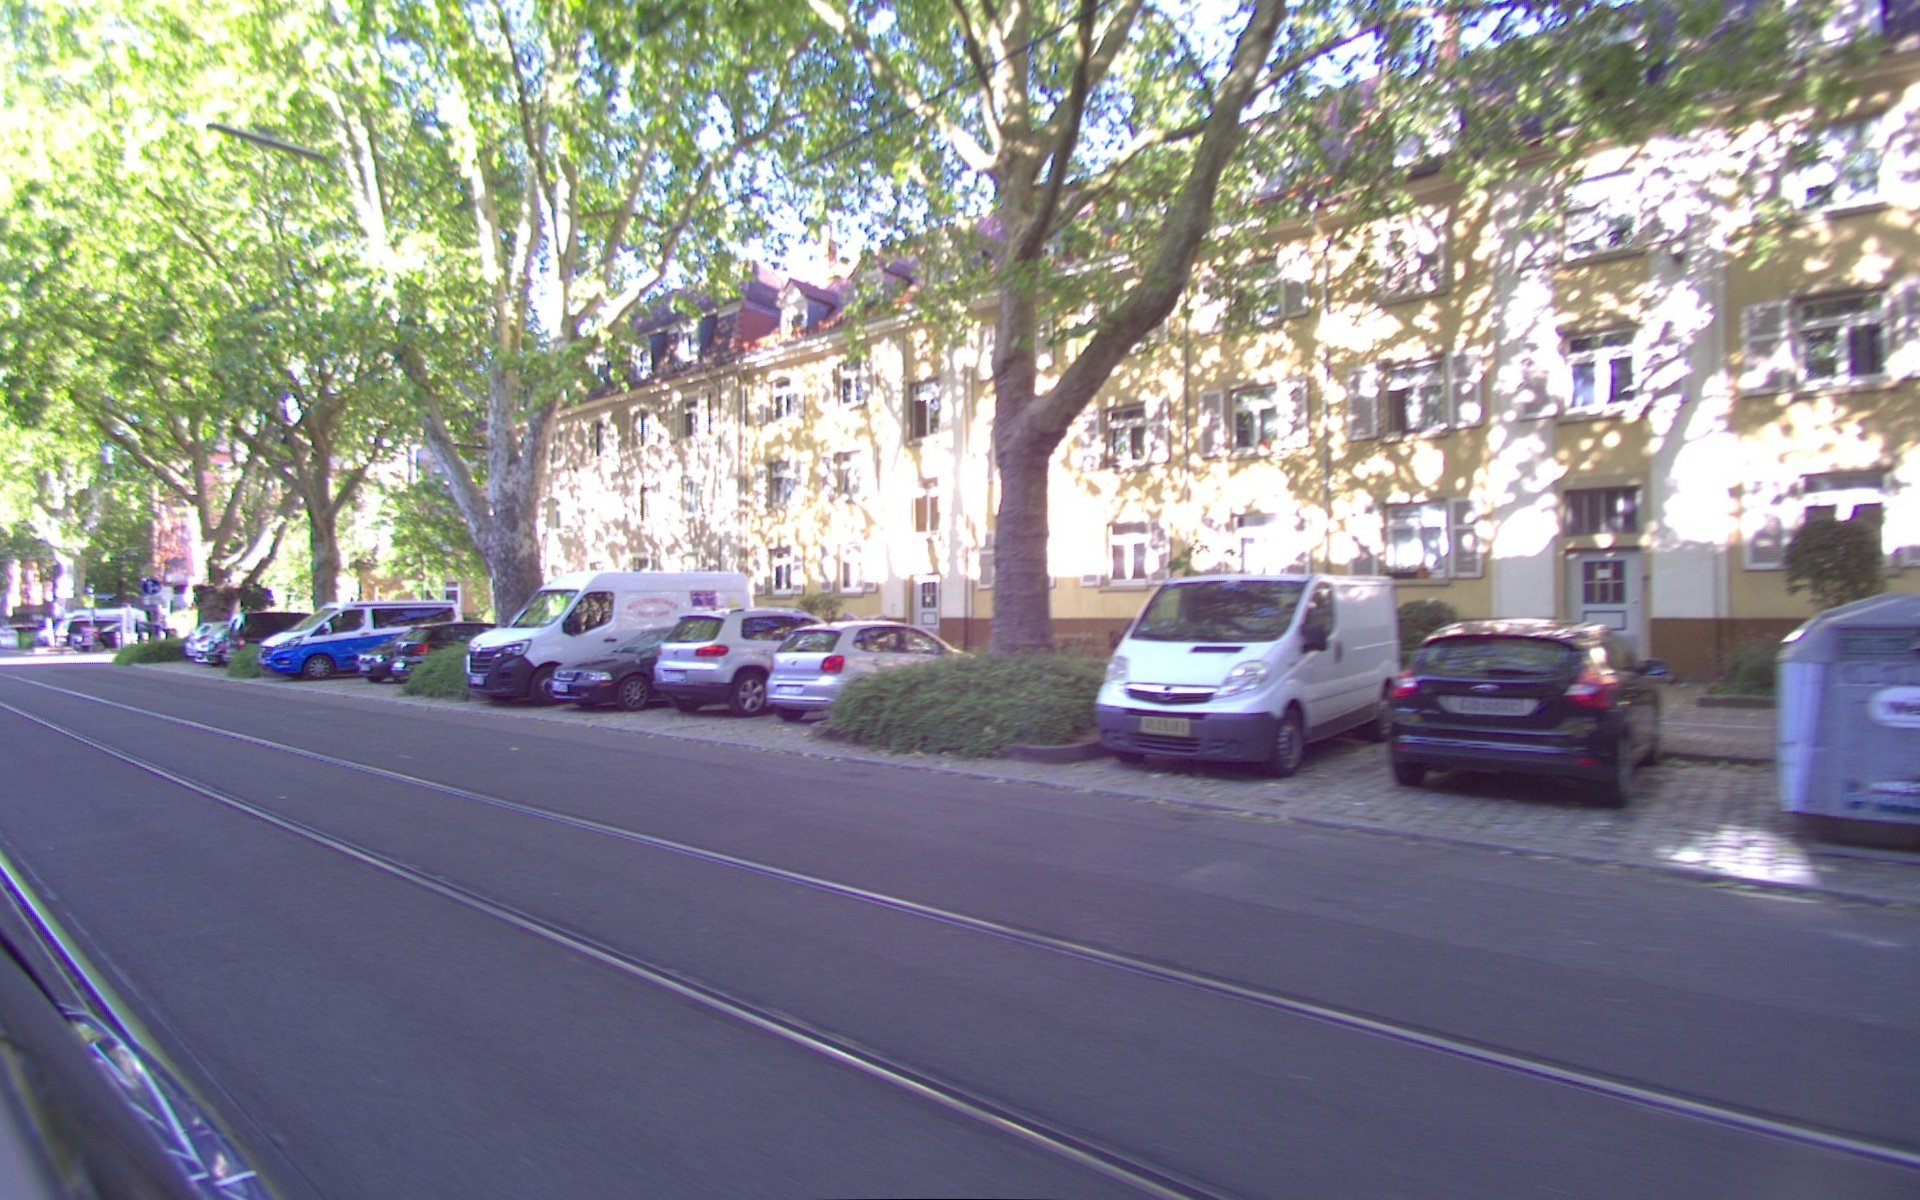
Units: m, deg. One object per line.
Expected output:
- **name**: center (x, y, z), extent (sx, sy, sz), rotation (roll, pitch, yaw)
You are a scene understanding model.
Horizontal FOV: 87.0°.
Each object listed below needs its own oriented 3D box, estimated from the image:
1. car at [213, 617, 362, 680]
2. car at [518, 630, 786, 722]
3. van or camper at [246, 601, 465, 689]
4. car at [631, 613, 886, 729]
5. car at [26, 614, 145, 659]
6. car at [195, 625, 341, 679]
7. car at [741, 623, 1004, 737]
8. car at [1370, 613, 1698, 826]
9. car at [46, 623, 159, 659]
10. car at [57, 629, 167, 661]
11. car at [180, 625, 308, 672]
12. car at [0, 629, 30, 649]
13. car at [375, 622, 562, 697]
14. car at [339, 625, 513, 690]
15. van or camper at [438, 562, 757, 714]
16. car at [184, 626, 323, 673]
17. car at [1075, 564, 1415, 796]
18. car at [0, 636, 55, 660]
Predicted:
- **car**: center (-21.317, 1.479, 32.155), extent (1.703, 1.828, 3.644), rotation (-2, -1, 40)
- **car**: center (-5.254, 1.227, 17.735), extent (1.752, 1.409, 4.219), rotation (-2, -2, 41)
- **van or camper**: center (-16.517, 1.144, 27.854), extent (2.118, 2.206, 4.771), rotation (-2, -1, 40)
- **car**: center (-3.225, 1.082, 16.709), extent (1.861, 1.675, 3.807), rotation (-2, -2, 41)
- **car**: center (-50.515, 2.072, 58.539), extent (2.026, 2.416, 4.956), rotation (-2, -2, 39)
- **car**: center (-23.030, 1.670, 33.760), extent (1.796, 1.636, 3.649), rotation (-1, -1, 36)
- **car**: center (-1.227, 1.125, 15.499), extent (1.861, 1.509, 3.807), rotation (-2, -2, 41)
- **car**: center (5.365, 0.905, 9.238), extent (1.861, 1.509, 3.807), rotation (-2, -2, 41)
- **car**: center (-46.168, 2.197, 54.566), extent (2.026, 1.779, 4.408), rotation (-2, -2, 39)
- **car**: center (-44.192, 2.341, 52.788), extent (1.923, 1.527, 4.118), rotation (-2, -2, 39)
- **car**: center (-26.203, 1.742, 37.106), extent (3.638, 1.565, 1.705), rotation (0, -1, -44)
- **car**: center (-73.283, 2.992, 76.698), extent (1.809, 1.527, 3.917), rotation (-2, -2, 39)
- **car**: center (-11.567, 1.338, 23.968), extent (1.613, 1.577, 3.642), rotation (-2, -1, 42)
- **car**: center (-13.388, 1.396, 25.525), extent (1.692, 1.471, 3.500), rotation (-1, -1, 34)
- **van or camper**: center (-6.851, 0.658, 19.658), extent (2.443, 2.535, 5.334), rotation (-2, -1, 40)
- **car**: center (-24.556, 1.676, 35.273), extent (1.697, 1.497, 3.651), rotation (-1, -1, 34)
- **car**: center (3.297, 0.700, 10.975), extent (1.959, 1.960, 4.613), rotation (-1, -1, 38)
- **car**: center (-65.306, 3.318, 69.952), extent (1.809, 1.527, 3.917), rotation (-2, -2, 39)
